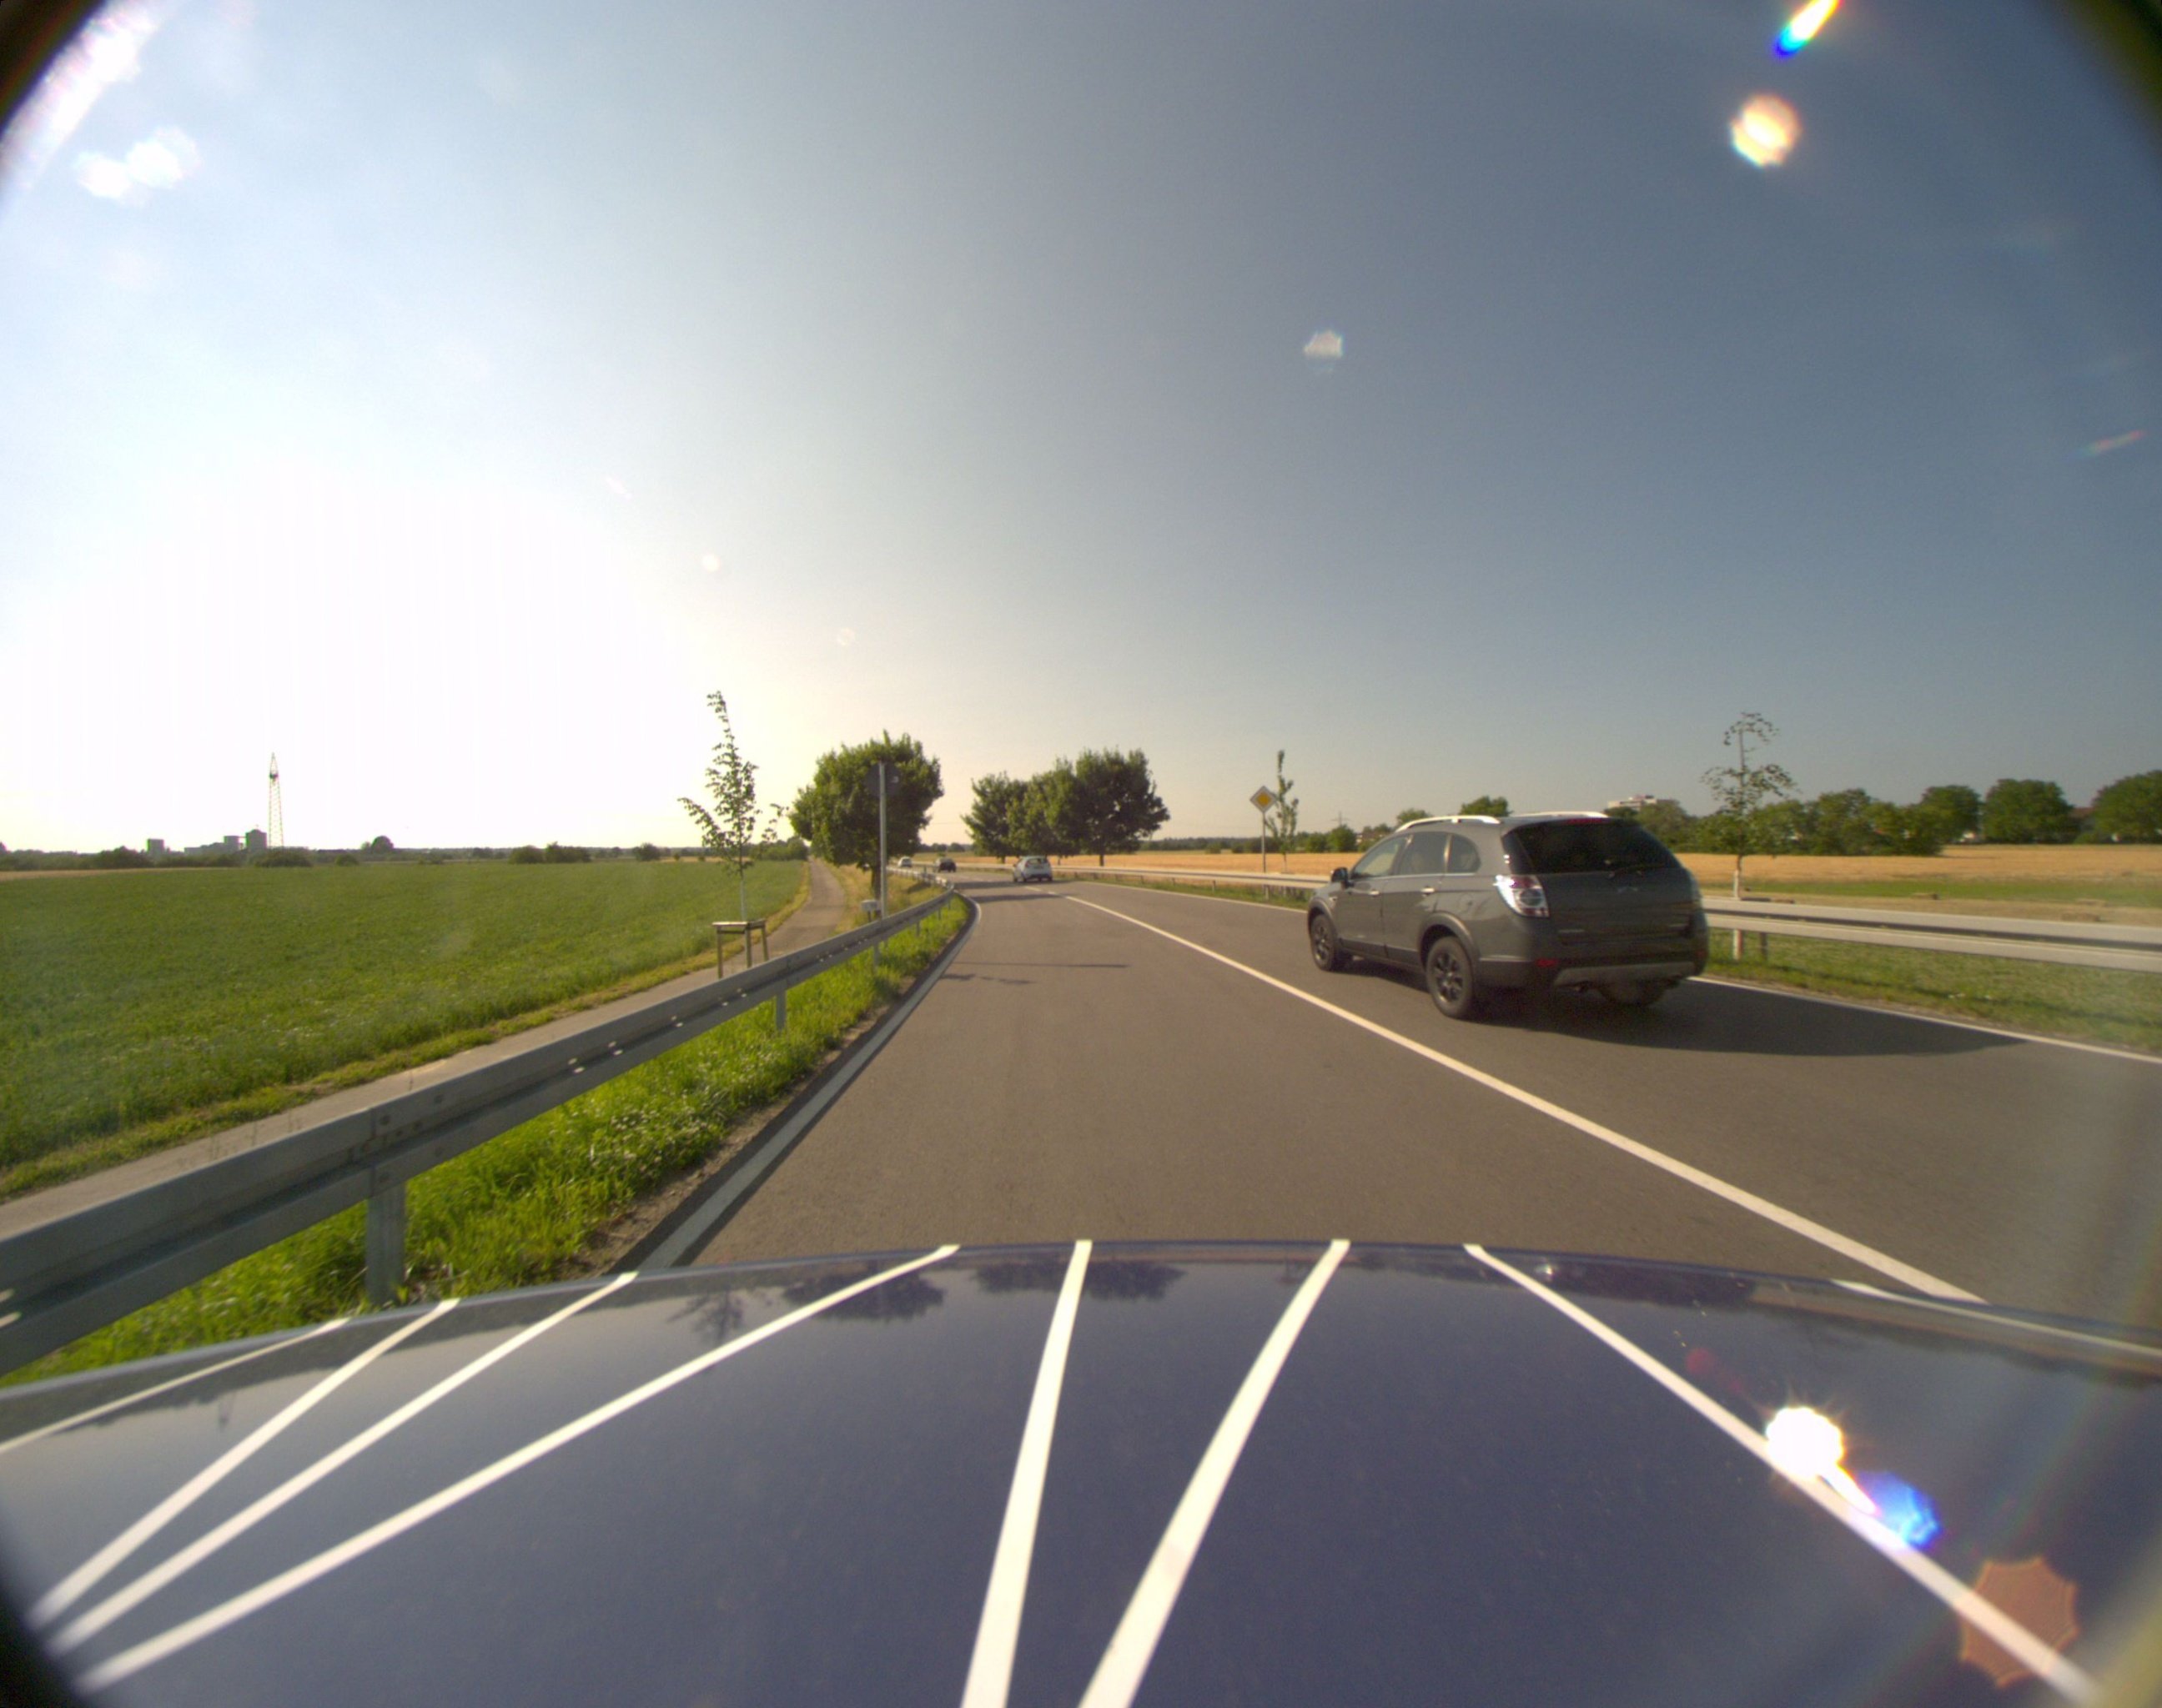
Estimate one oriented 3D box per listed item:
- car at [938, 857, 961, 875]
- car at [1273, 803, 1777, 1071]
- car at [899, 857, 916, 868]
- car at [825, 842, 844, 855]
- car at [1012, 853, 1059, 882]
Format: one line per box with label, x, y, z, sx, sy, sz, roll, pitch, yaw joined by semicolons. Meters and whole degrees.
car;-13.065;1.141;75.505;1.844;1.535;4.238;-4;3;-15
car;3.822;0.484;7.901;1.888;1.788;5.087;-3;3;-5
car;-24.570;1.152;107.490;1.759;1.421;3.838;-3;2;-23
car;-42.315;-0.999;130.560;2.819;2.002;6.091;-4;2;-20
car;-2.659;0.738;43.444;1.860;1.440;4.148;-3;1;-14
